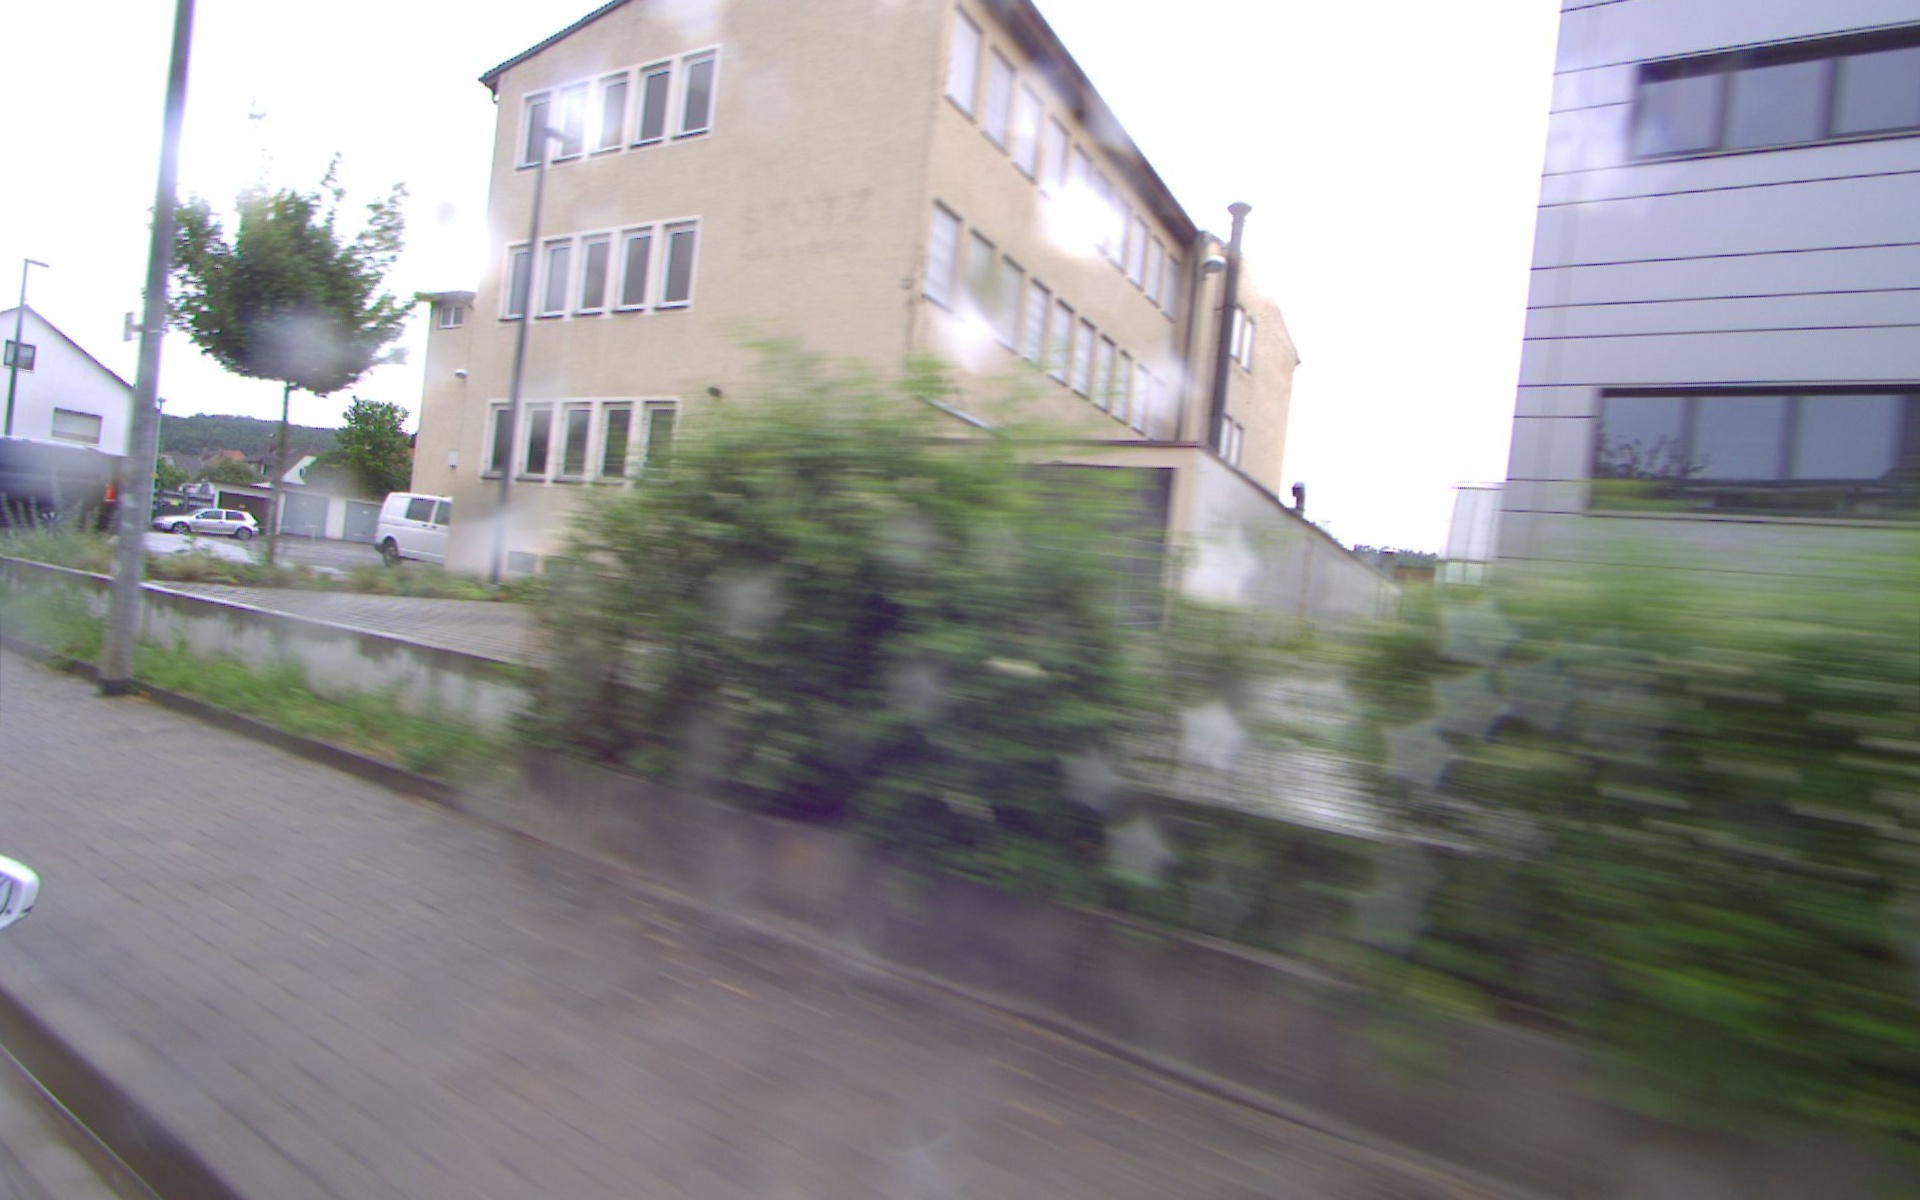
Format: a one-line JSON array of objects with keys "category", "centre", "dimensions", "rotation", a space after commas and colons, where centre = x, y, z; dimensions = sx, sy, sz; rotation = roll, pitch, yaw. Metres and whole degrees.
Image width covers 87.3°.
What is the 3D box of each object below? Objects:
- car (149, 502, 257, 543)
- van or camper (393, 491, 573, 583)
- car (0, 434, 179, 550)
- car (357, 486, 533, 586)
[{"category": "car", "centre": [-36.103, -3.677, 48.056], "dimensions": [1.584, 1.473, 3.765], "rotation": [6, 0, 37]}, {"category": "van or camper", "centre": [-17.858, -2.379, 37.577], "dimensions": [6.483, 2.567, 2.000], "rotation": [8, -1, 22]}, {"category": "car", "centre": [-18.971, -2.231, 19.932], "dimensions": [5.042, 1.944, 2.044], "rotation": [5, 0, -21]}, {"category": "car", "centre": [-13.636, -1.709, 26.582], "dimensions": [4.522, 2.039, 1.796], "rotation": [8, 1, 30]}]
